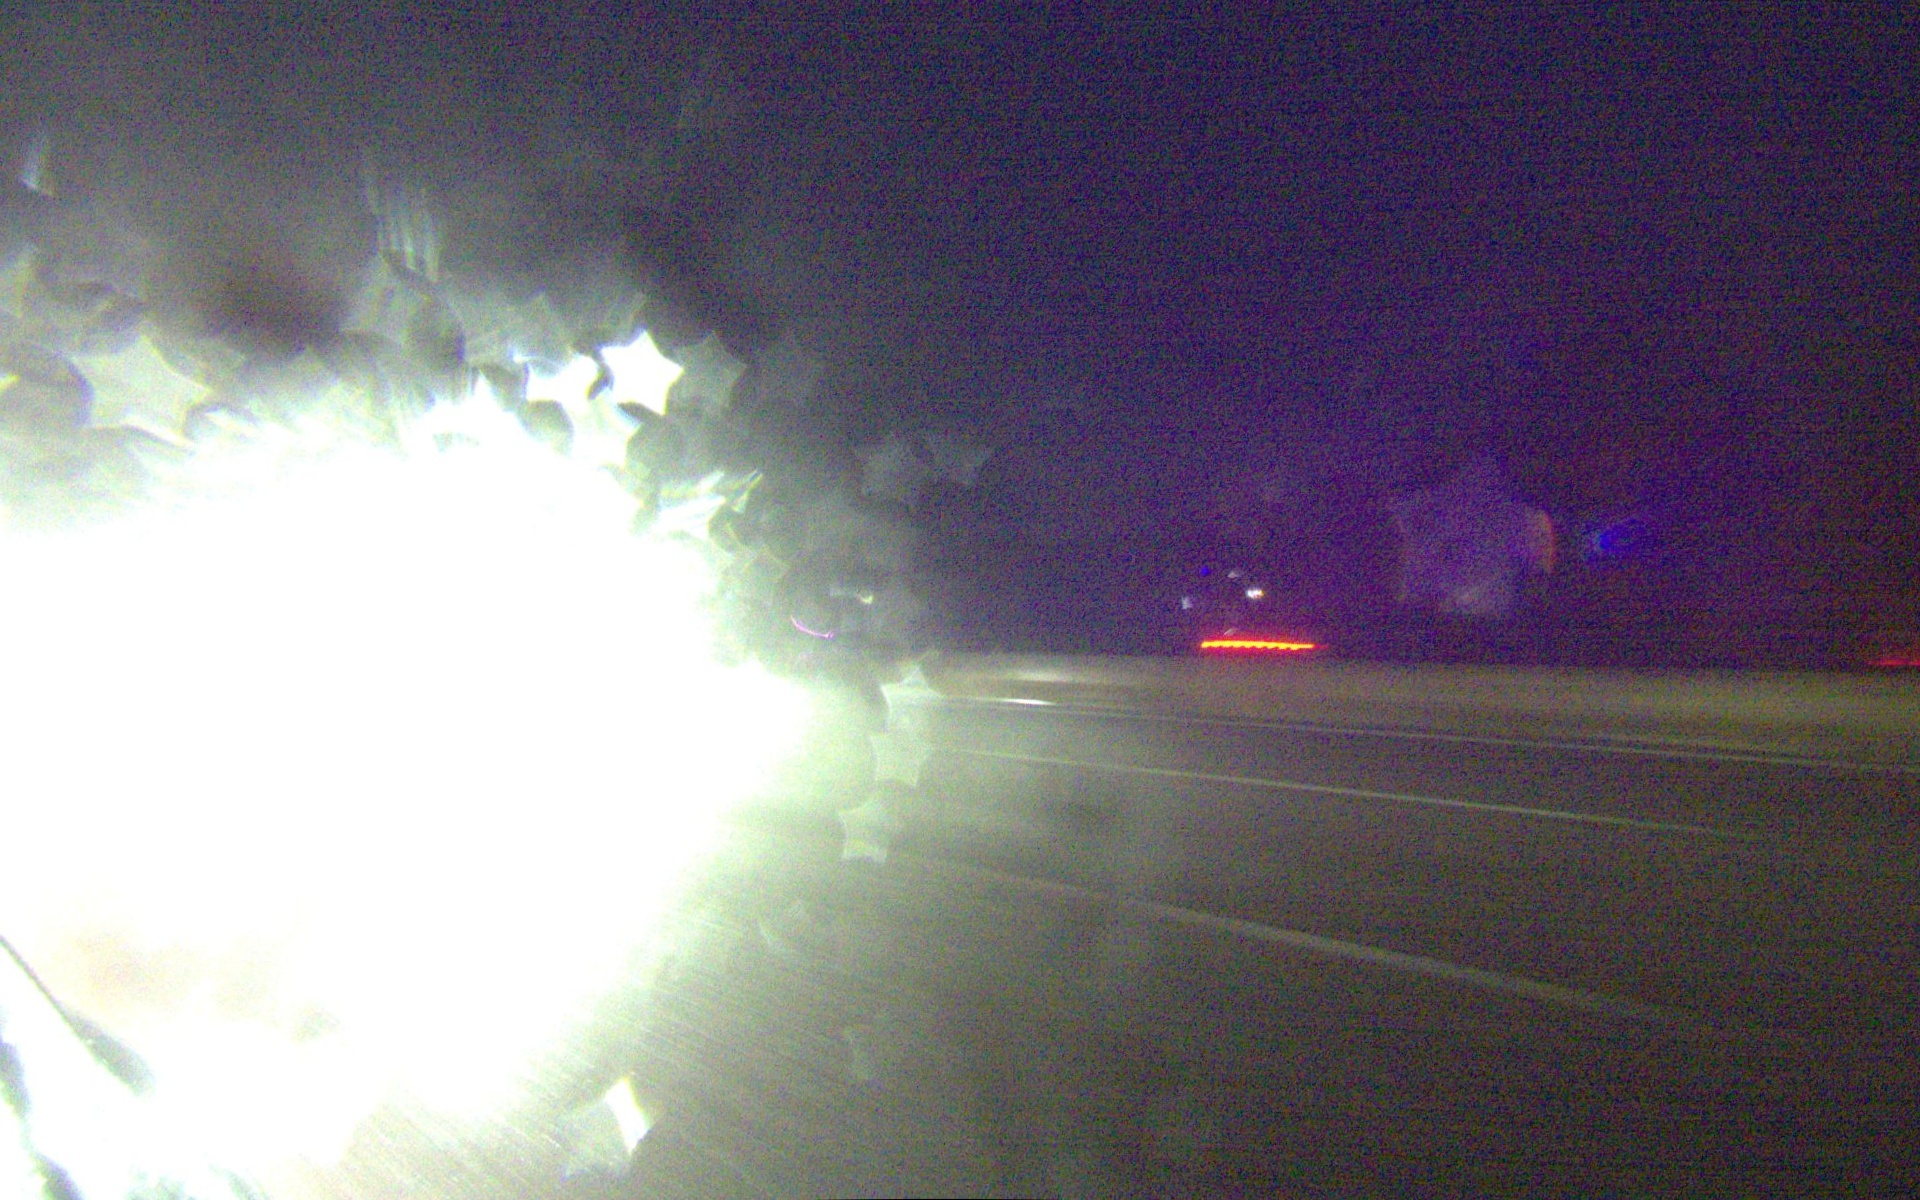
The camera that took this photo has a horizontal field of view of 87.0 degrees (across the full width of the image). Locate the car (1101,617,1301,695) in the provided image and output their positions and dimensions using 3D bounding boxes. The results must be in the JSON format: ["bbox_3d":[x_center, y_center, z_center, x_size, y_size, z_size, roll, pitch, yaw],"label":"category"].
[{"bbox_3d":[5.856,1.299,24.810,4.343,1.685,1.973,-1,0,40],"label":"car"}]

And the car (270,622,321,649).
[{"bbox_3d":[-44.562,2.370,67.857,4.655,1.685,1.597,-1,0,40],"label":"car"}]

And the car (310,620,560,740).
[{"bbox_3d":[-7.524,1.037,14.325,4.243,1.442,1.640,-2,-1,40],"label":"car"}]

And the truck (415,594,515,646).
[{"bbox_3d":[-29.515,1.186,60.184,7.746,2.868,2.868,-1,0,44],"label":"truck"}]

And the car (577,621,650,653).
[{"bbox_3d":[-19.886,2.088,58.041,4.343,1.685,1.973,-1,0,40],"label":"car"}]

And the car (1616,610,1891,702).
[{"bbox_3d":[16.447,1.091,21.196,4.343,1.685,1.973,-1,0,40],"label":"car"}]

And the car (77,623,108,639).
[{"bbox_3d":[-97.420,3.425,113.667,4.343,1.685,1.973,-1,0,40],"label":"car"}]
